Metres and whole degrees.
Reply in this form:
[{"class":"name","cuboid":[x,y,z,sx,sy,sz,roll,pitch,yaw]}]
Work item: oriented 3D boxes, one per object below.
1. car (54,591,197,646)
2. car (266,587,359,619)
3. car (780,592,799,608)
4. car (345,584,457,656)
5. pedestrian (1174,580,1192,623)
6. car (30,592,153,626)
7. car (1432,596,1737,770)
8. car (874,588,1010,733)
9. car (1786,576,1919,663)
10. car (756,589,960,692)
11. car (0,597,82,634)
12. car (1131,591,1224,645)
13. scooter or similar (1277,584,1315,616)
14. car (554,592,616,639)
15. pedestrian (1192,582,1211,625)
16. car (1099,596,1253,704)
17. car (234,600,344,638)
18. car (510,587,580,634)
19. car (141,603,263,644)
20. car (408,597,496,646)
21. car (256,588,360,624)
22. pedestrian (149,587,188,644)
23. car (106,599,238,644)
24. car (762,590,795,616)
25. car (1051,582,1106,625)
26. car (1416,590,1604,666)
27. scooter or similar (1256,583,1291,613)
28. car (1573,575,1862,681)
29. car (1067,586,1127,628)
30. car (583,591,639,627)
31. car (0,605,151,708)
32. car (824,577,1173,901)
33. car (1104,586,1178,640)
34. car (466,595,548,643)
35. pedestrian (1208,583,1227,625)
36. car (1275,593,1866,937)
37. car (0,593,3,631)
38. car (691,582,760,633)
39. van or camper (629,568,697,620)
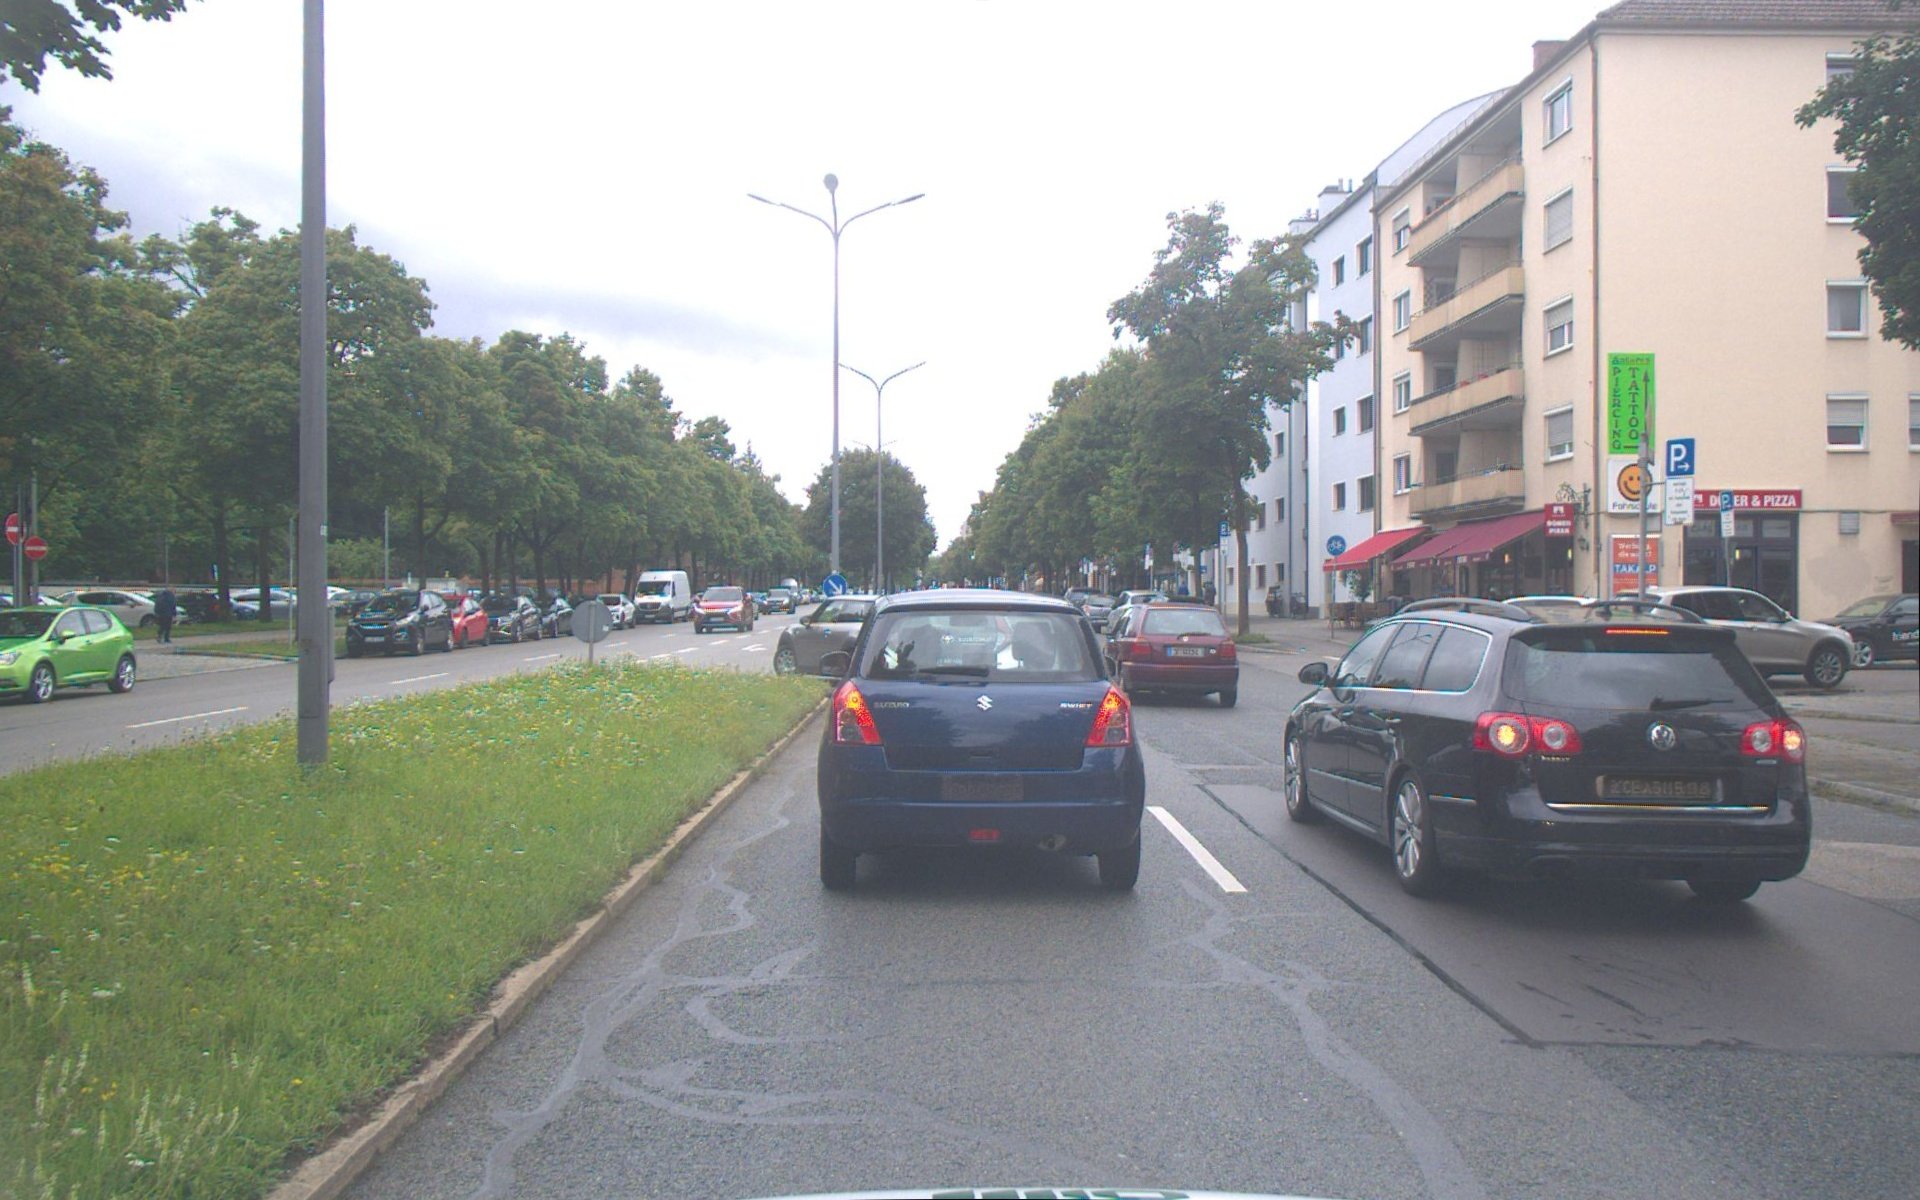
[{"class":"car","cuboid":[-27.672,0.602,54.950,3.843,1.748,1.670,1,0,-6]},{"class":"car","cuboid":[-31.087,0.160,79.495,3.792,1.471,1.670,1,0,-6]},{"class":"car","cuboid":[-17.978,0.026,174.438,1.599,1.610,3.878,1,0,-1]},{"class":"car","cuboid":[-14.554,0.491,43.252,1.682,1.771,3.878,1,0,-1]},{"class":"pedestrian","cuboid":[10.778,0.061,79.953,0.778,2.049,1.006,0,0,0]},{"class":"car","cuboid":[-38.917,0.403,74.157,4.595,1.471,1.672,1,0,0]},{"class":"car","cuboid":[6.061,0.735,16.497,1.584,1.491,3.673,2,0,-1]},{"class":"car","cuboid":[-0.233,0.622,18.853,1.415,1.509,3.105,0,0,-2]},{"class":"car","cuboid":[19.351,0.358,33.546,4.307,1.690,1.870,-1,0,-5]},{"class":"car","cuboid":[-1.683,0.578,26.172,1.666,1.488,3.692,0,1,-33]},{"class":"car","cuboid":[-39.988,0.640,70.105,4.595,1.471,1.672,1,0,0]},{"class":"car","cuboid":[6.125,0.474,47.014,1.829,1.442,4.221,-1,1,-4]},{"class":"scooter or similar","cuboid":[14.116,-0.005,69.545,1.011,1.330,2.755,0,0,0]},{"class":"car","cuboid":[-14.722,0.594,65.082,1.599,1.771,3.878,1,0,-1]},{"class":"pedestrian","cuboid":[11.667,0.171,80.042,0.778,2.049,1.006,0,0,0]},{"class":"car","cuboid":[3.049,0.662,24.033,1.648,1.408,3.918,1,0,-1]},{"class":"car","cuboid":[-27.353,0.781,67.492,3.792,1.471,1.670,1,0,-6]},{"class":"car","cuboid":[-14.682,0.371,58.706,1.558,1.585,3.878,1,0,-1]},{"class":"car","cuboid":[-28.356,0.862,61.986,3.792,1.471,1.670,1,0,-6]},{"class":"car","cuboid":[-14.752,0.598,48.160,1.558,1.335,3.380,1,0,-1]},{"class":"car","cuboid":[-27.810,0.247,70.670,3.792,1.471,1.670,1,0,-6]},{"class":"pedestrian","cuboid":[-21.986,0.426,45.928,0.712,1.561,0.721,1,0,0]},{"class":"car","cuboid":[-27.494,0.740,57.824,3.792,1.471,1.670,1,0,-6]},{"class":"car","cuboid":[-11.883,0.183,108.426,1.730,1.651,4.505,-2,0,-1]},{"class":"car","cuboid":[4.968,0.121,69.688,1.828,1.712,4.222,0,1,-2]},{"class":"car","cuboid":[11.017,0.536,33.115,3.475,1.442,1.872,0,1,21]},{"class":"scooter or similar","cuboid":[13.904,-0.102,73.400,1.011,1.330,2.755,0,0,0]},{"class":"car","cuboid":[12.936,0.469,28.319,4.320,1.690,1.864,1,0,-16]},{"class":"car","cuboid":[5.342,0.250,65.037,1.828,1.544,4.222,-1,1,-2]},{"class":"car","cuboid":[-14.864,0.366,70.603,1.599,1.456,3.878,1,0,-1]},{"class":"car","cuboid":[-14.398,0.838,25.805,1.515,1.434,3.880,-2,1,2]},{"class":"car","cuboid":[0.127,0.640,9.784,1.648,1.528,3.918,0,1,-2]},{"class":"car","cuboid":[5.625,0.374,51.775,1.755,1.585,4.223,0,1,-2]},{"class":"car","cuboid":[-14.564,0.593,53.358,1.633,1.471,3.878,1,0,-1]},{"class":"pedestrian","cuboid":[12.474,0.182,80.097,0.778,2.049,1.006,0,0,0]},{"class":"car","cuboid":[3.118,0.721,9.516,1.696,1.457,4.441,1,0,-1]},{"class":"car","cuboid":[-39.427,0.432,63.438,4.414,1.502,1.672,1,0,0]},{"class":"car","cuboid":[-8.502,0.238,60.221,1.865,1.726,4.245,-2,0,0]},{"class":"van or camper","cuboid":[-15.123,-0.293,84.595,2.073,2.525,7.448,1,0,0]}]
